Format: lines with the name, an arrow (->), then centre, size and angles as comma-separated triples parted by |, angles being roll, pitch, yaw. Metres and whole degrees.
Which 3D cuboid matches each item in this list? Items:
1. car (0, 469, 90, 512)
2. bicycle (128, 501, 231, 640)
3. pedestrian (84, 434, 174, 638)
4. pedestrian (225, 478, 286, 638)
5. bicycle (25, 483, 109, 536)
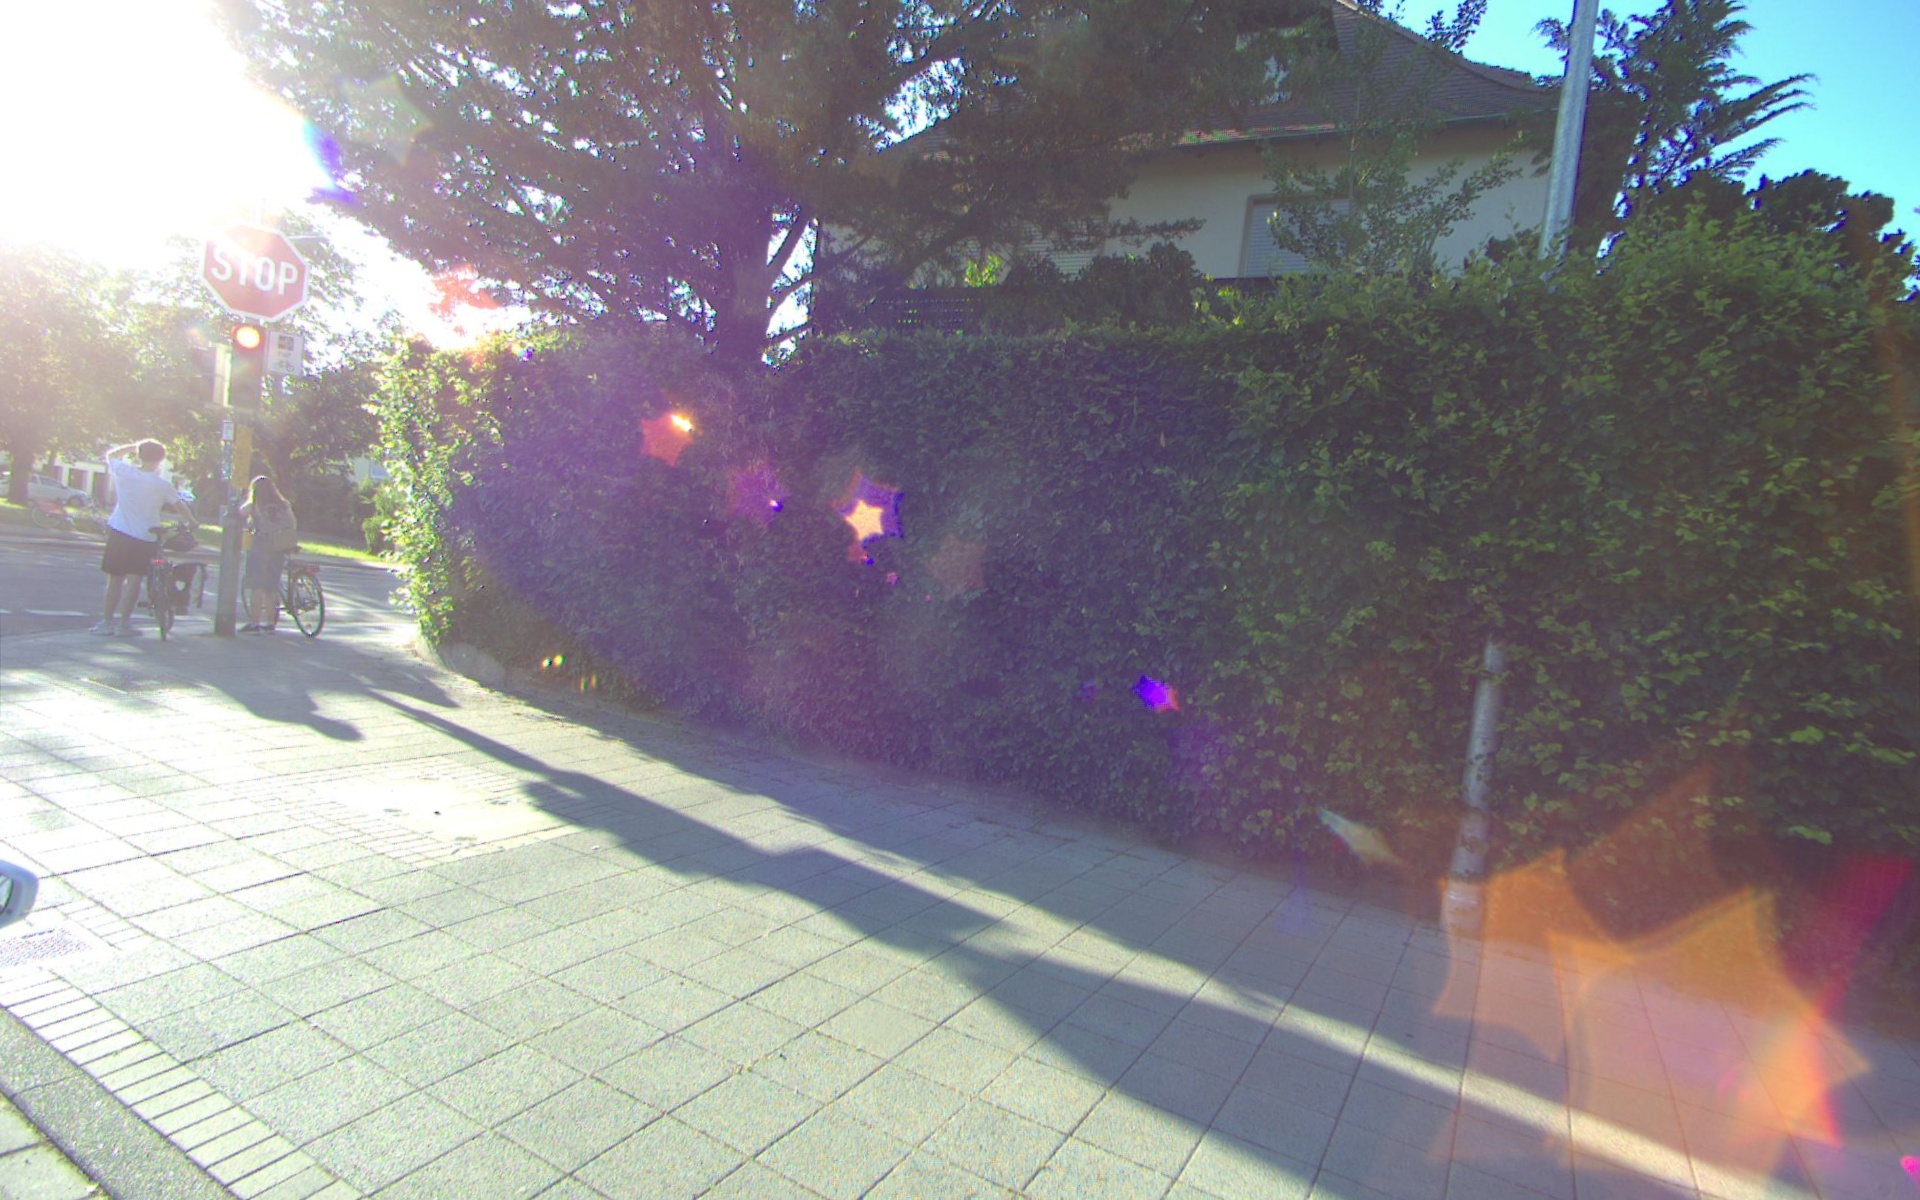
car -> -46.414, -5.485, 50.390 | 1.497, 1.542, 3.933 | 6, -2, 25
bicycle -> -7.699, -0.316, 9.982 | 0.569, 1.198, 1.887 | 8, -1, -35
pedestrian -> -8.130, -0.616, 9.858 | 0.624, 1.893, 0.765 | 2, 5, -39
pedestrian -> -7.358, -0.435, 10.505 | 0.347, 1.604, 0.458 | 8, -1, -37
bicycle -> -23.299, -2.344, 26.262 | 0.460, 1.103, 1.520 | 13, 4, 39
